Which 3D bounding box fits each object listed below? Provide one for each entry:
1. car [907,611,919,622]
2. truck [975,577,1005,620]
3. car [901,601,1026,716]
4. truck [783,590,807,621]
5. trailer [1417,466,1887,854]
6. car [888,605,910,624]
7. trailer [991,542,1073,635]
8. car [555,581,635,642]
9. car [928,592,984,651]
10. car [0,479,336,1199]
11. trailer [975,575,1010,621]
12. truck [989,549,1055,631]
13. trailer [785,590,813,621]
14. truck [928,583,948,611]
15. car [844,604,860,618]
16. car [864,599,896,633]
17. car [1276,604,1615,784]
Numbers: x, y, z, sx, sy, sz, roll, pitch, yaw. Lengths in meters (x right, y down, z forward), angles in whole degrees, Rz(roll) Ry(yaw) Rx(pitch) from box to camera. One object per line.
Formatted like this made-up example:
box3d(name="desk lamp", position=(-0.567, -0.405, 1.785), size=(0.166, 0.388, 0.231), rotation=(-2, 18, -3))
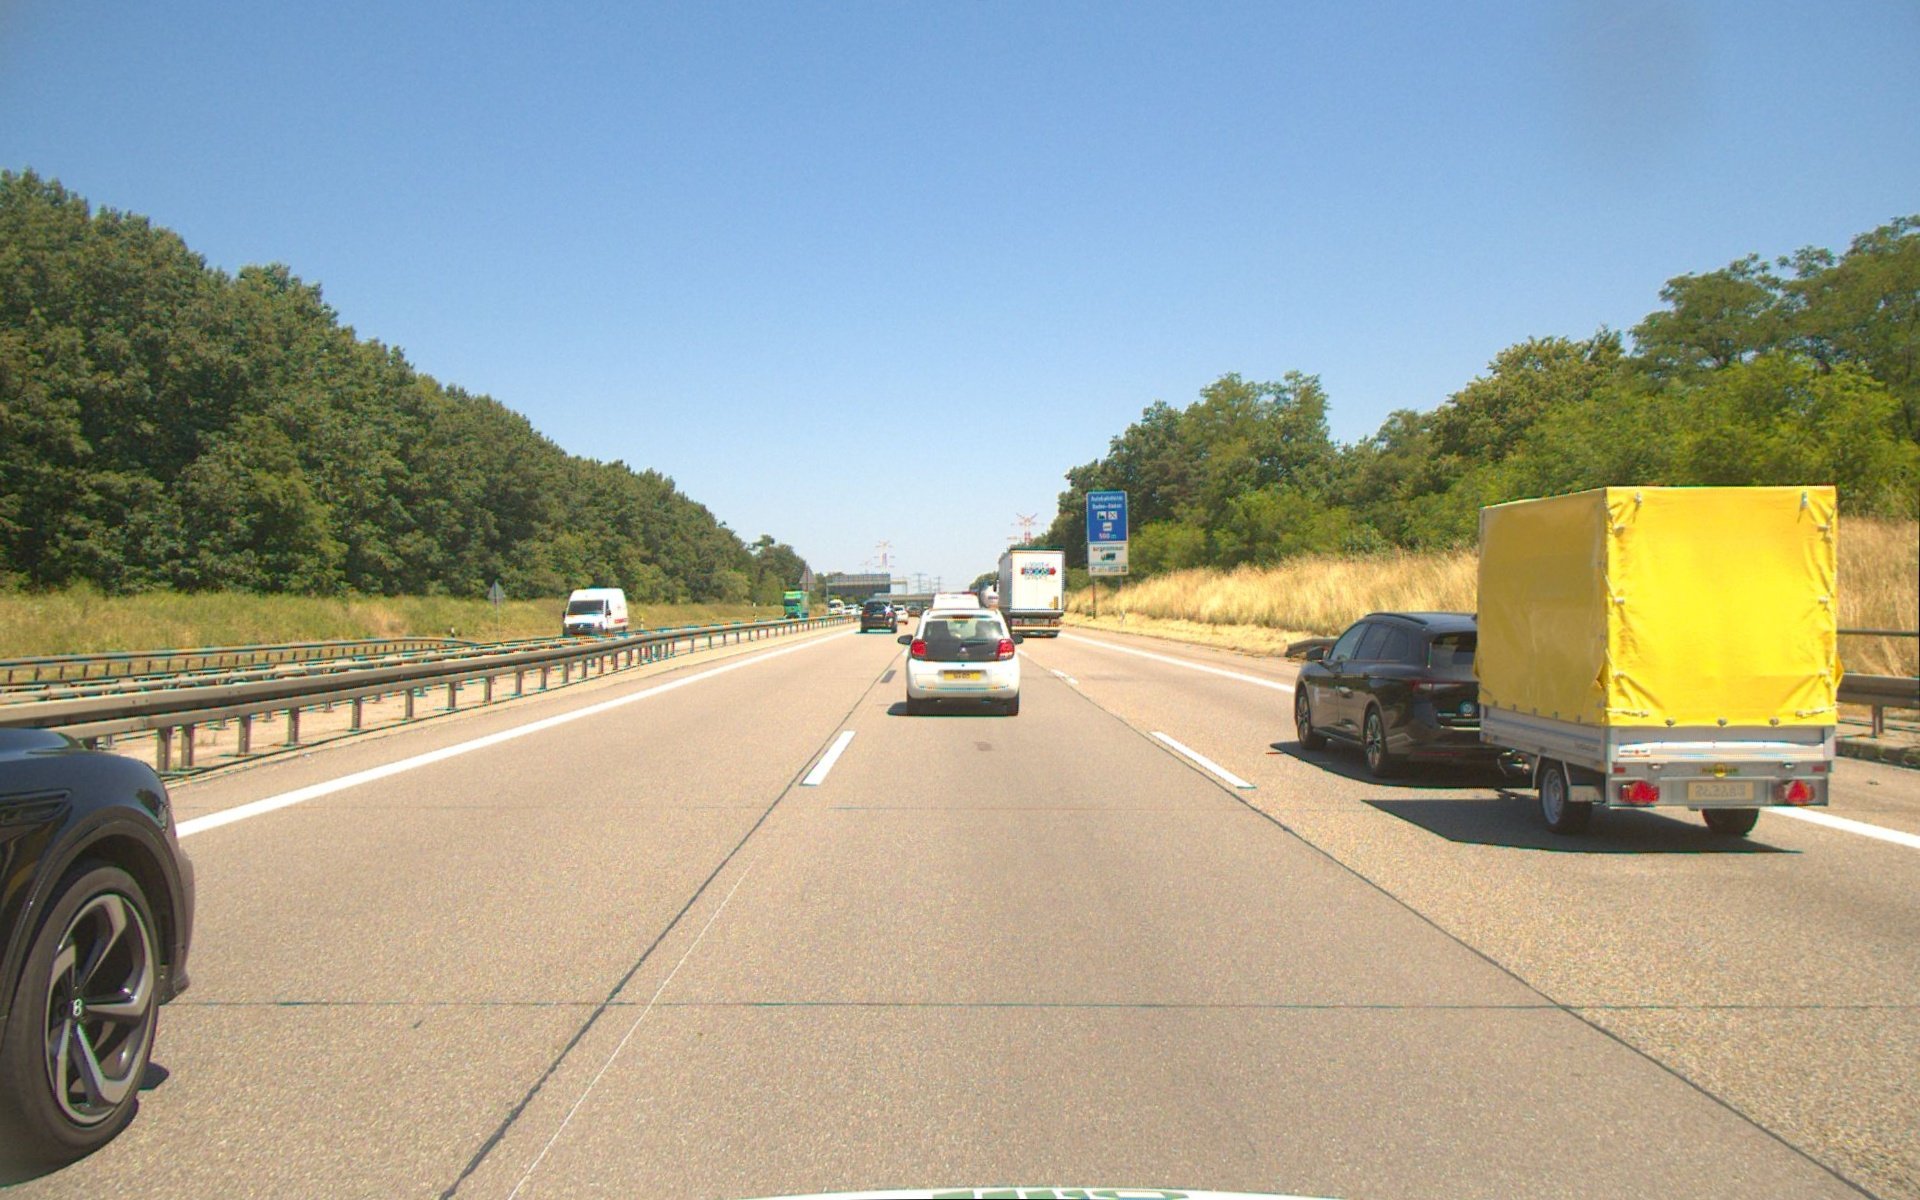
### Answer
box3d(name="car", position=(-6.209, 2.151, 217.798), size=(1.574, 1.323, 3.673), rotation=(0, 0, -1))
box3d(name="truck", position=(2.717, -0.112, 152.184), size=(2.628, 3.904, 4.443), rotation=(0, 0, -1))
box3d(name="car", position=(0.018, 0.793, 24.369), size=(1.673, 1.521, 4.023), rotation=(0, 0, -1))
box3d(name="truck", position=(-23.476, 0.771, 235.572), size=(2.646, 4.233, 6.295), rotation=(-4, 0, -1))
box3d(name="trailer", position=(4.705, 0.355, 11.892), size=(1.668, 2.330, 3.838), rotation=(0, 0, -2))
box3d(name="car", position=(-4.841, 1.153, 131.514), size=(1.635, 1.426, 3.711), rotation=(-1, 0, -2))
box3d(name="trailer", position=(3.439, -0.490, 82.808), size=(3.219, 4.293, 13.561), rotation=(0, 0, -1))
box3d(name="car", position=(-17.505, 0.515, 79.646), size=(2.122, 2.670, 7.542), rotation=(-4, 0, -1))
box3d(name="car", position=(-0.182, 0.697, 55.547), size=(1.777, 1.859, 5.109), rotation=(-1, 0, -1))
box3d(name="car", position=(-3.140, 0.626, 3.055), size=(1.901, 1.782, 5.811), rotation=(0, 1, -2))
box3d(name="trailer", position=(2.831, -0.141, 146.485), size=(2.628, 3.904, 12.007), rotation=(0, 0, -1))
box3d(name="truck", position=(3.286, -0.502, 89.063), size=(3.219, 4.293, 6.006), rotation=(0, 0, -1))
box3d(name="trailer", position=(-23.572, 0.794, 242.240), size=(2.650, 4.233, 14.335), rotation=(-4, 0, -1))
box3d(name="truck", position=(-2.448, -0.347, 182.386), size=(2.018, 2.965, 7.001), rotation=(-1, 0, -1))
box3d(name="car", position=(-15.488, 1.611, 237.398), size=(1.914, 1.823, 5.561), rotation=(-4, 0, -1))
box3d(name="car", position=(-4.299, 0.844, 89.193), size=(1.593, 1.785, 3.804), rotation=(0, 0, -1))
box3d(name="car", position=(4.524, 0.790, 16.228), size=(1.784, 1.481, 4.786), rotation=(0, 0, -2))
